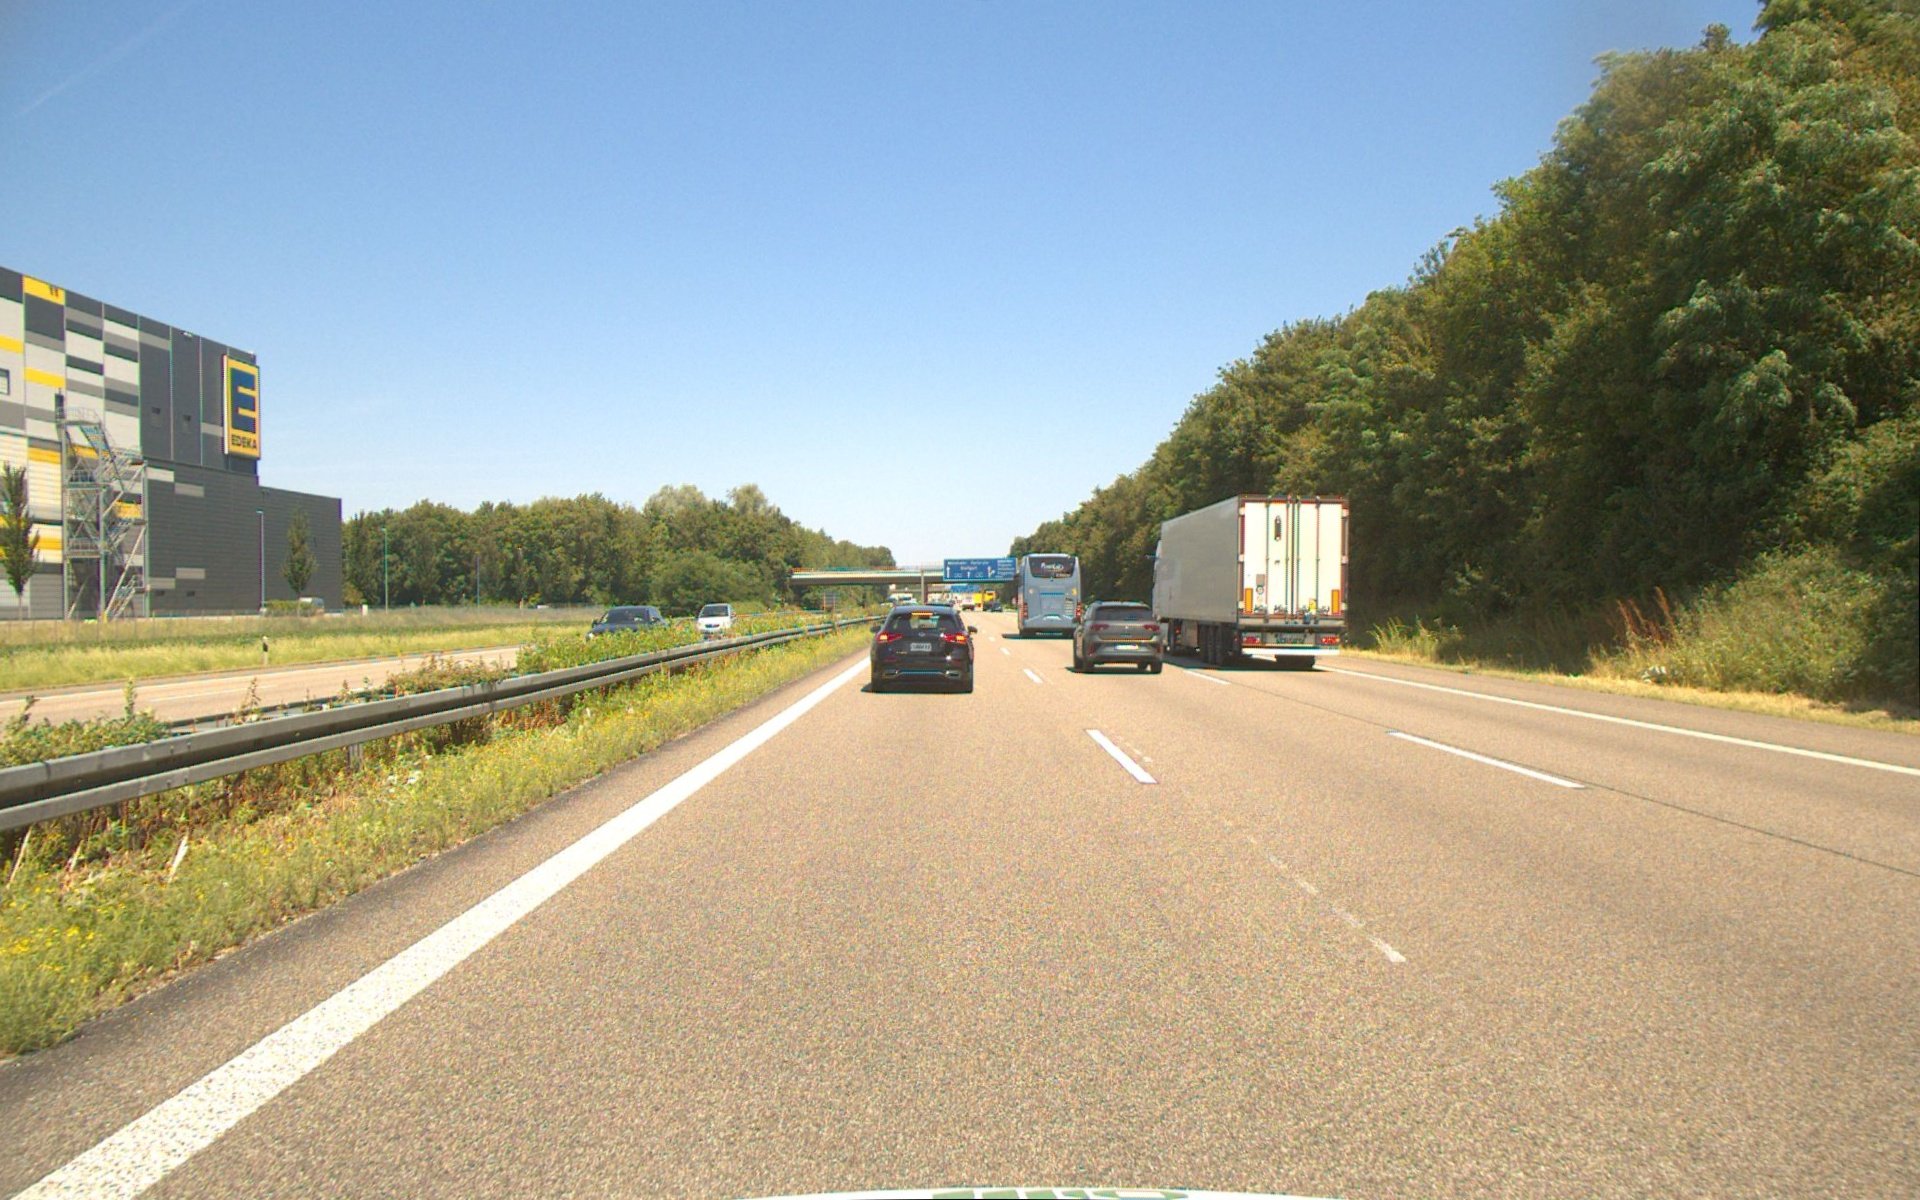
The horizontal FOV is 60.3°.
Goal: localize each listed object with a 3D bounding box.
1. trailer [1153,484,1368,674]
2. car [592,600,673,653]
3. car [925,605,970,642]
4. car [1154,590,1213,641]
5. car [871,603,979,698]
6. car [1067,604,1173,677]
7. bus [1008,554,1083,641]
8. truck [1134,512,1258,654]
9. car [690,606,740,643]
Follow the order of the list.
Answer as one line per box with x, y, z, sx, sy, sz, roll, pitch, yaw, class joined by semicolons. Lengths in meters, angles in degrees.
7.669;-0.480;44.701;2.978;4.298;13.831;0;0;-1;trailer
-10.152;0.795;51.611;1.763;1.559;4.240;0;0;-1;car
-0.575;1.013;72.337;1.861;1.559;4.240;0;0;-1;car
9.699;0.668;72.056;1.861;2.157;4.240;0;0;-1;car
-0.618;0.834;29.065;1.763;1.528;4.240;0;0;-1;car
3.585;0.876;37.897;1.861;1.559;4.758;0;0;-1;car
3.805;-0.093;75.967;2.745;3.659;12.473;0;0;0;bus
7.486;-0.520;53.199;2.986;4.289;6.047;0;0;-1;truck
-11.321;1.119;76.573;1.623;1.610;4.334;-2;0;0;car
